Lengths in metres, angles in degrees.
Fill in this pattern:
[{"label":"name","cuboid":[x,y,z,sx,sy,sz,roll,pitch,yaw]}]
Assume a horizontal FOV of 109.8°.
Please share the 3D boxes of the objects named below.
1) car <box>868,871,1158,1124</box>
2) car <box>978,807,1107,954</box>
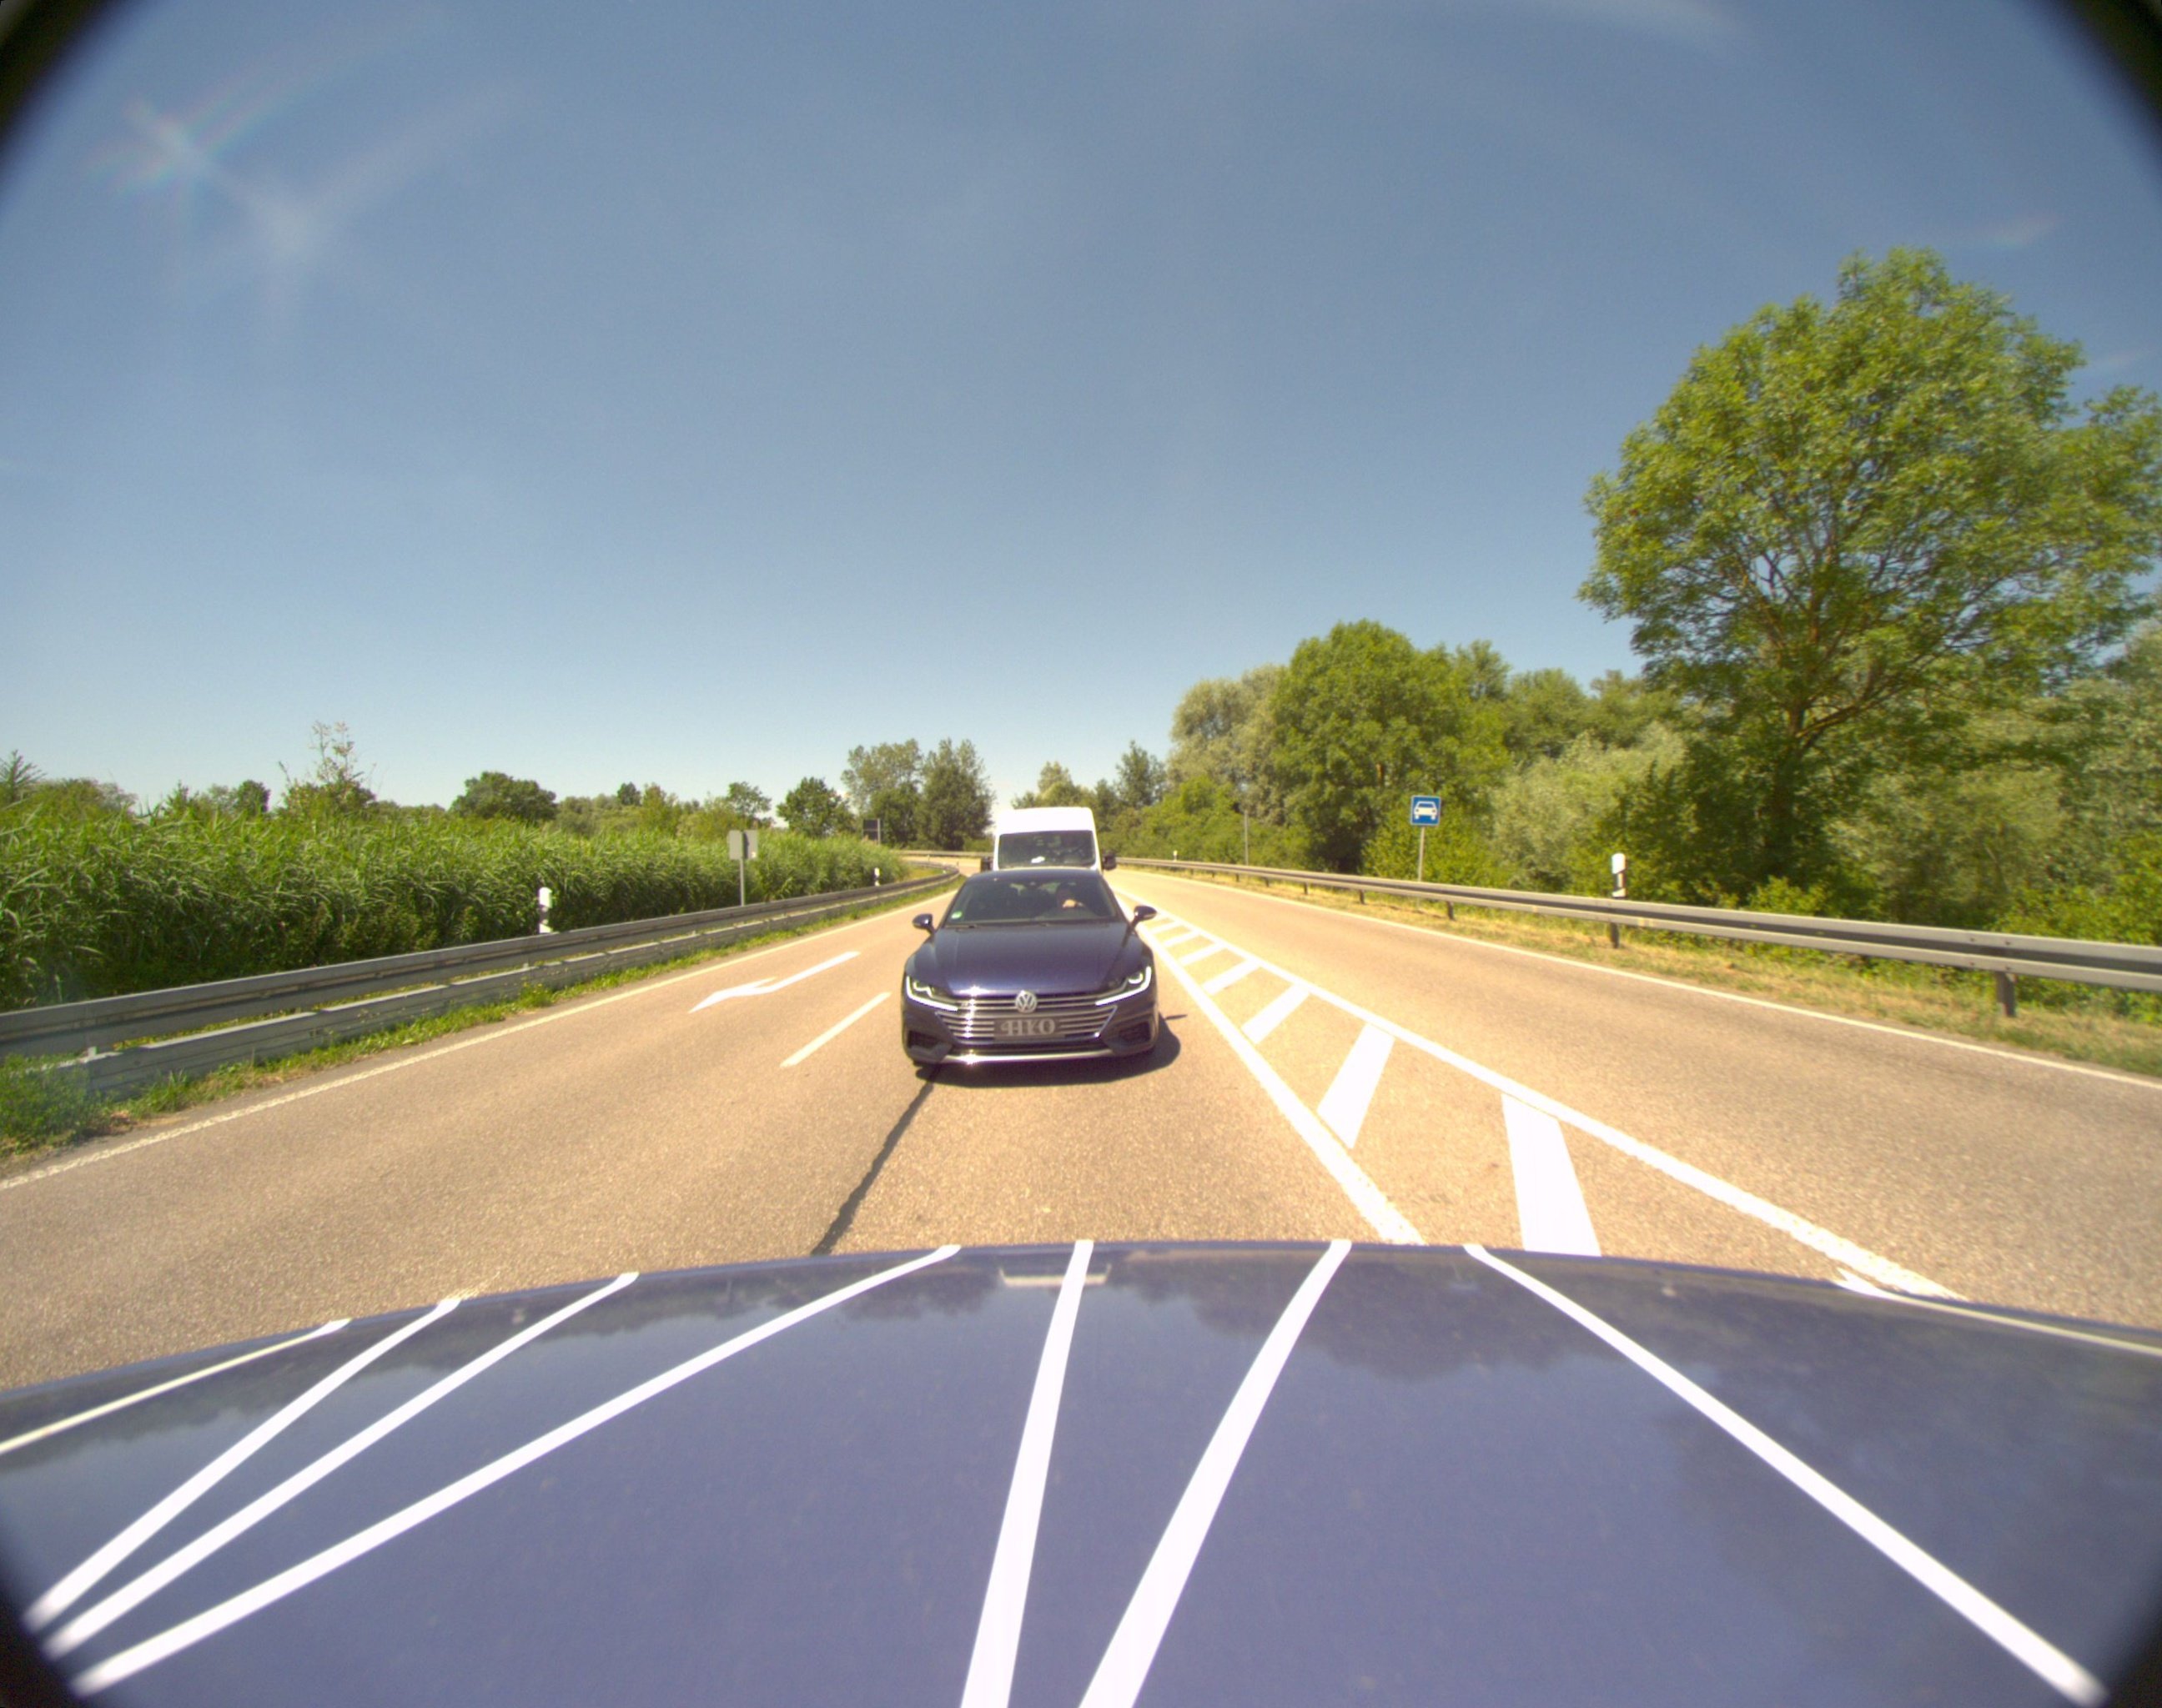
[{"label":"car","cuboid":[-0.413,0.945,6.757,1.761,1.401,3.999,-2,1,0]},{"label":"car","cuboid":[-0.626,0.405,15.546,2.059,2.376,5.826,-2,1,0]}]
